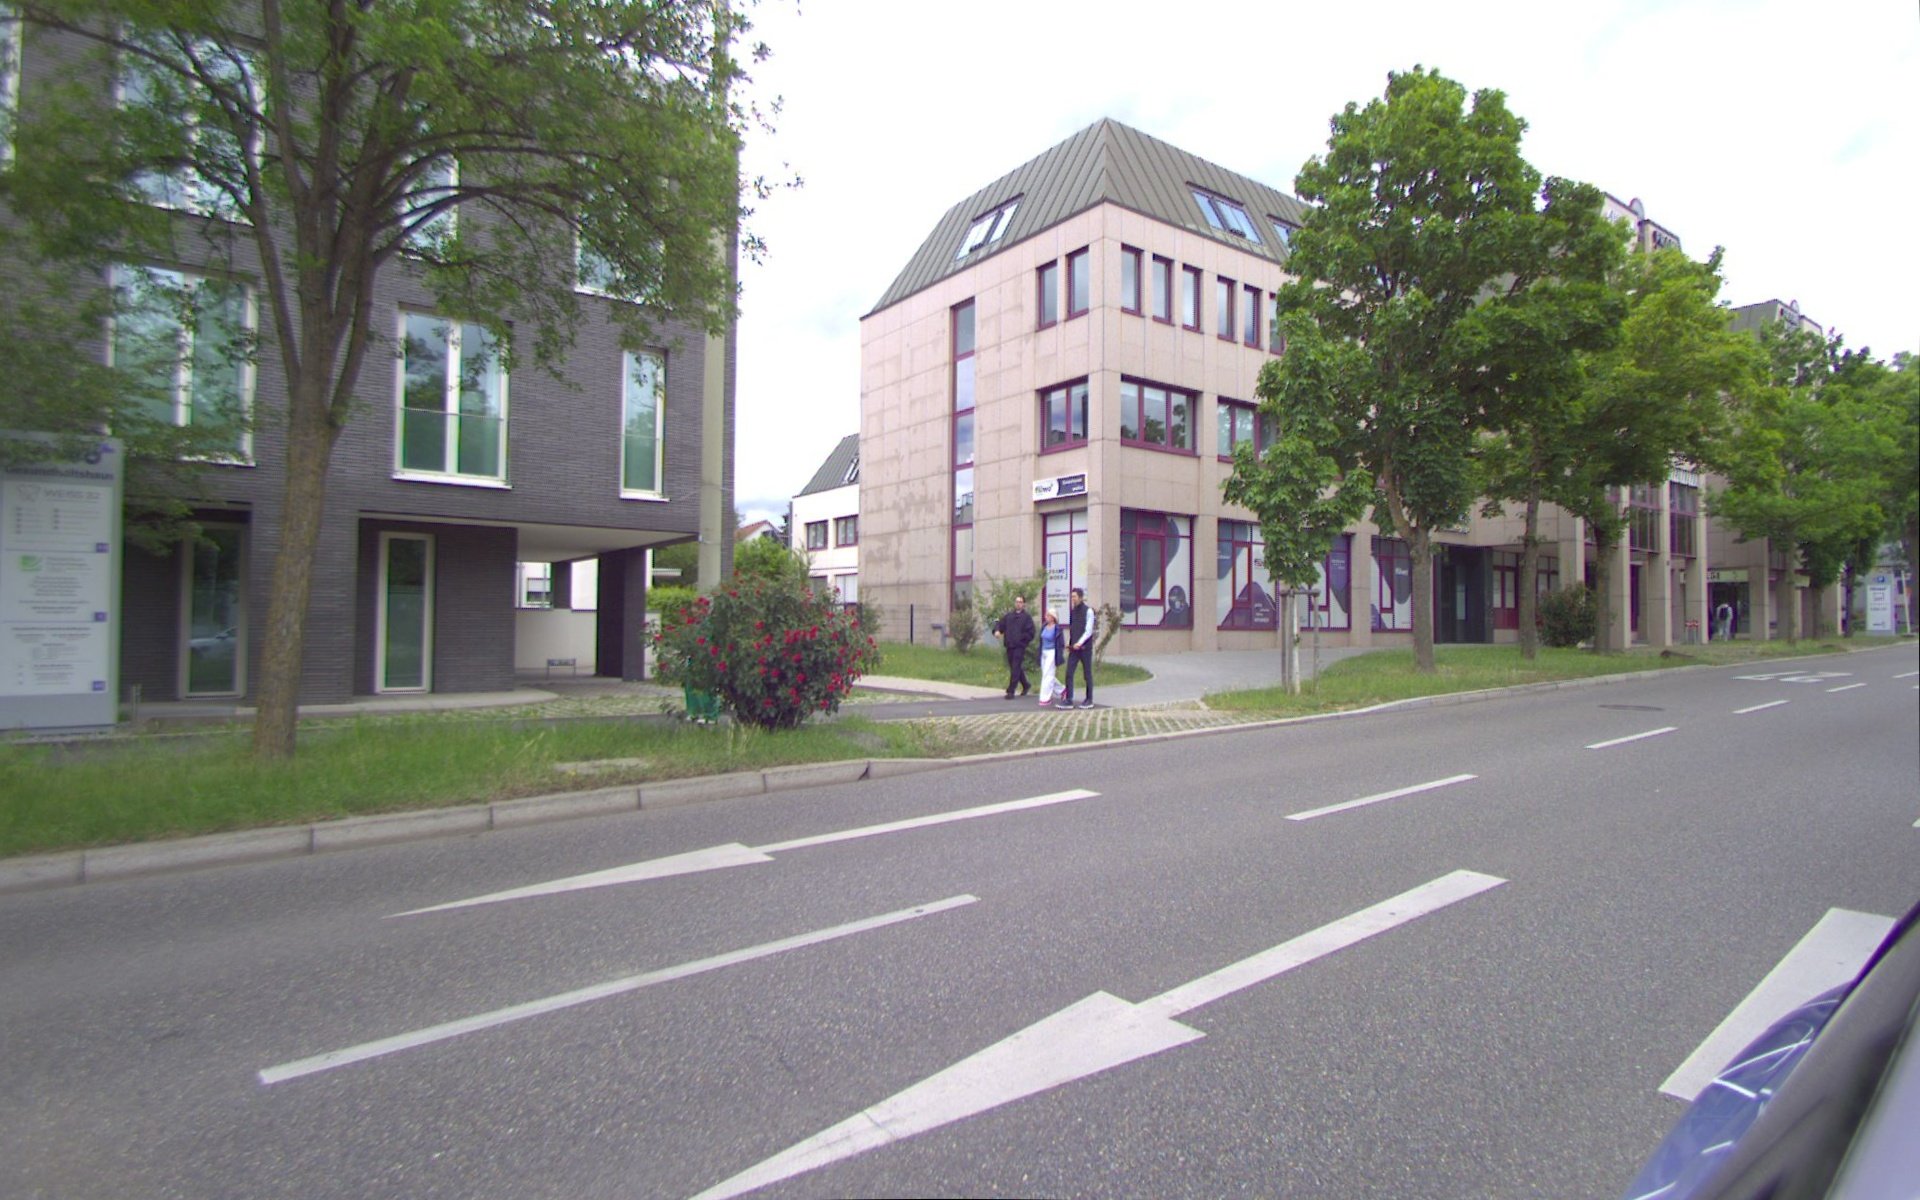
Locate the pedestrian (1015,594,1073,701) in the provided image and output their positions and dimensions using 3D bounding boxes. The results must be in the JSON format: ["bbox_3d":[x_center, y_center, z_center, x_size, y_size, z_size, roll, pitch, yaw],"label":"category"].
[{"bbox_3d":[1.349,0.738,16.206,0.665,1.668,0.642,0,-1,-40],"label":"pedestrian"}]

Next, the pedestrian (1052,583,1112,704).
[{"bbox_3d":[1.895,0.660,15.735,0.665,1.828,0.642,0,-1,-40],"label":"pedestrian"}]

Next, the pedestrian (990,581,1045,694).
[{"bbox_3d":[0.957,0.613,16.891,0.665,1.828,0.642,0,-1,-40],"label":"pedestrian"}]

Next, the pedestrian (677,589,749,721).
[{"bbox_3d":[-3.009,0.648,12.327,0.665,1.537,0.496,0,2,-41],"label":"pedestrian"}]

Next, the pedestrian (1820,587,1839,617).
[{"bbox_3d":[50.987,0.098,59.351,0.817,1.769,0.718,0,0,-41],"label":"pedestrian"}]
